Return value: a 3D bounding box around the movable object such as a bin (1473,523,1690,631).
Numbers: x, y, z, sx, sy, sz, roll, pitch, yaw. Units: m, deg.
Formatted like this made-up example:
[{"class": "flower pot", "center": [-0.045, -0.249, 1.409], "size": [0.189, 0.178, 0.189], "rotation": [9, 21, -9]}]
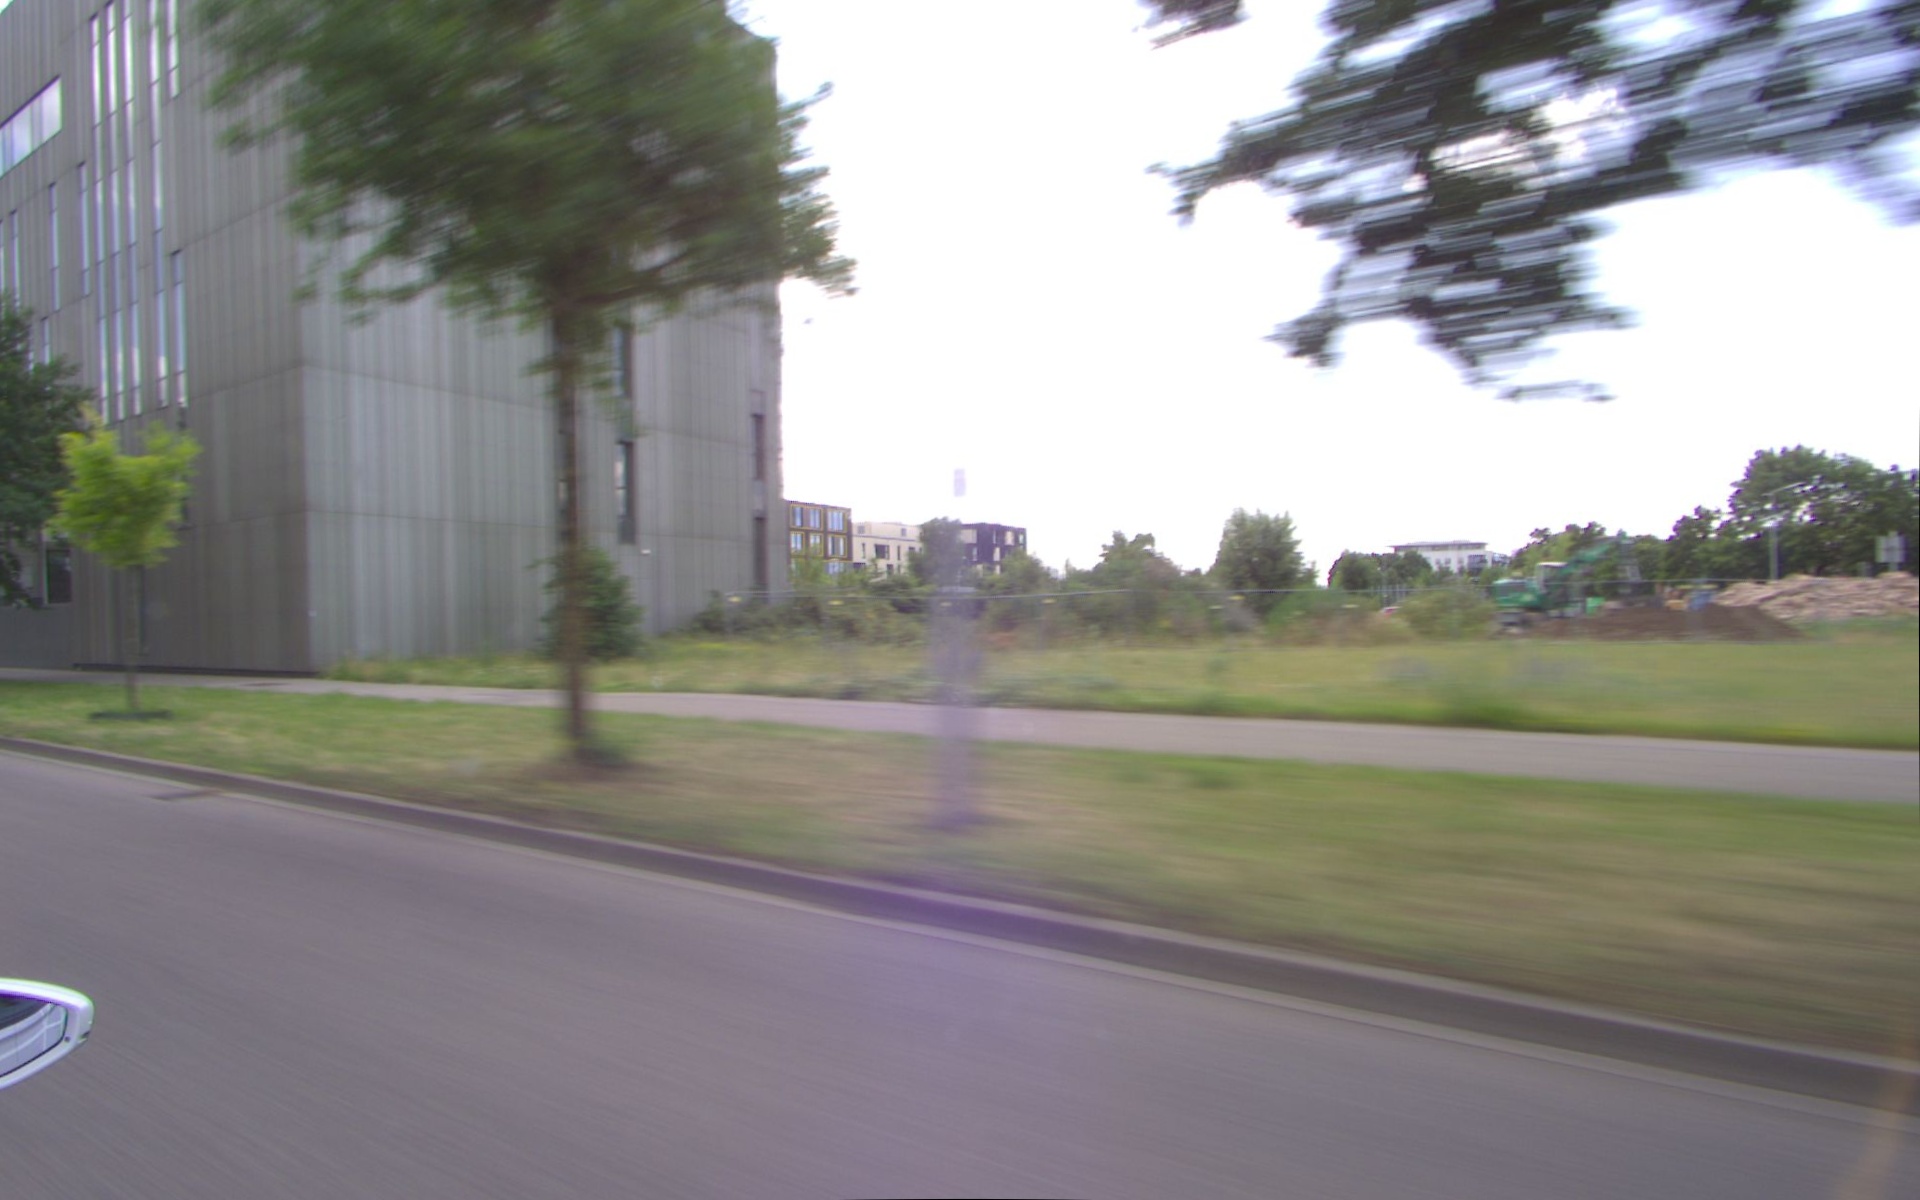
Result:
[{"class": "movable object such as a bin", "center": [25.339, -0.751, 41.426], "size": [2.993, 3.900, 7.612], "rotation": [0, -3, -14]}]
